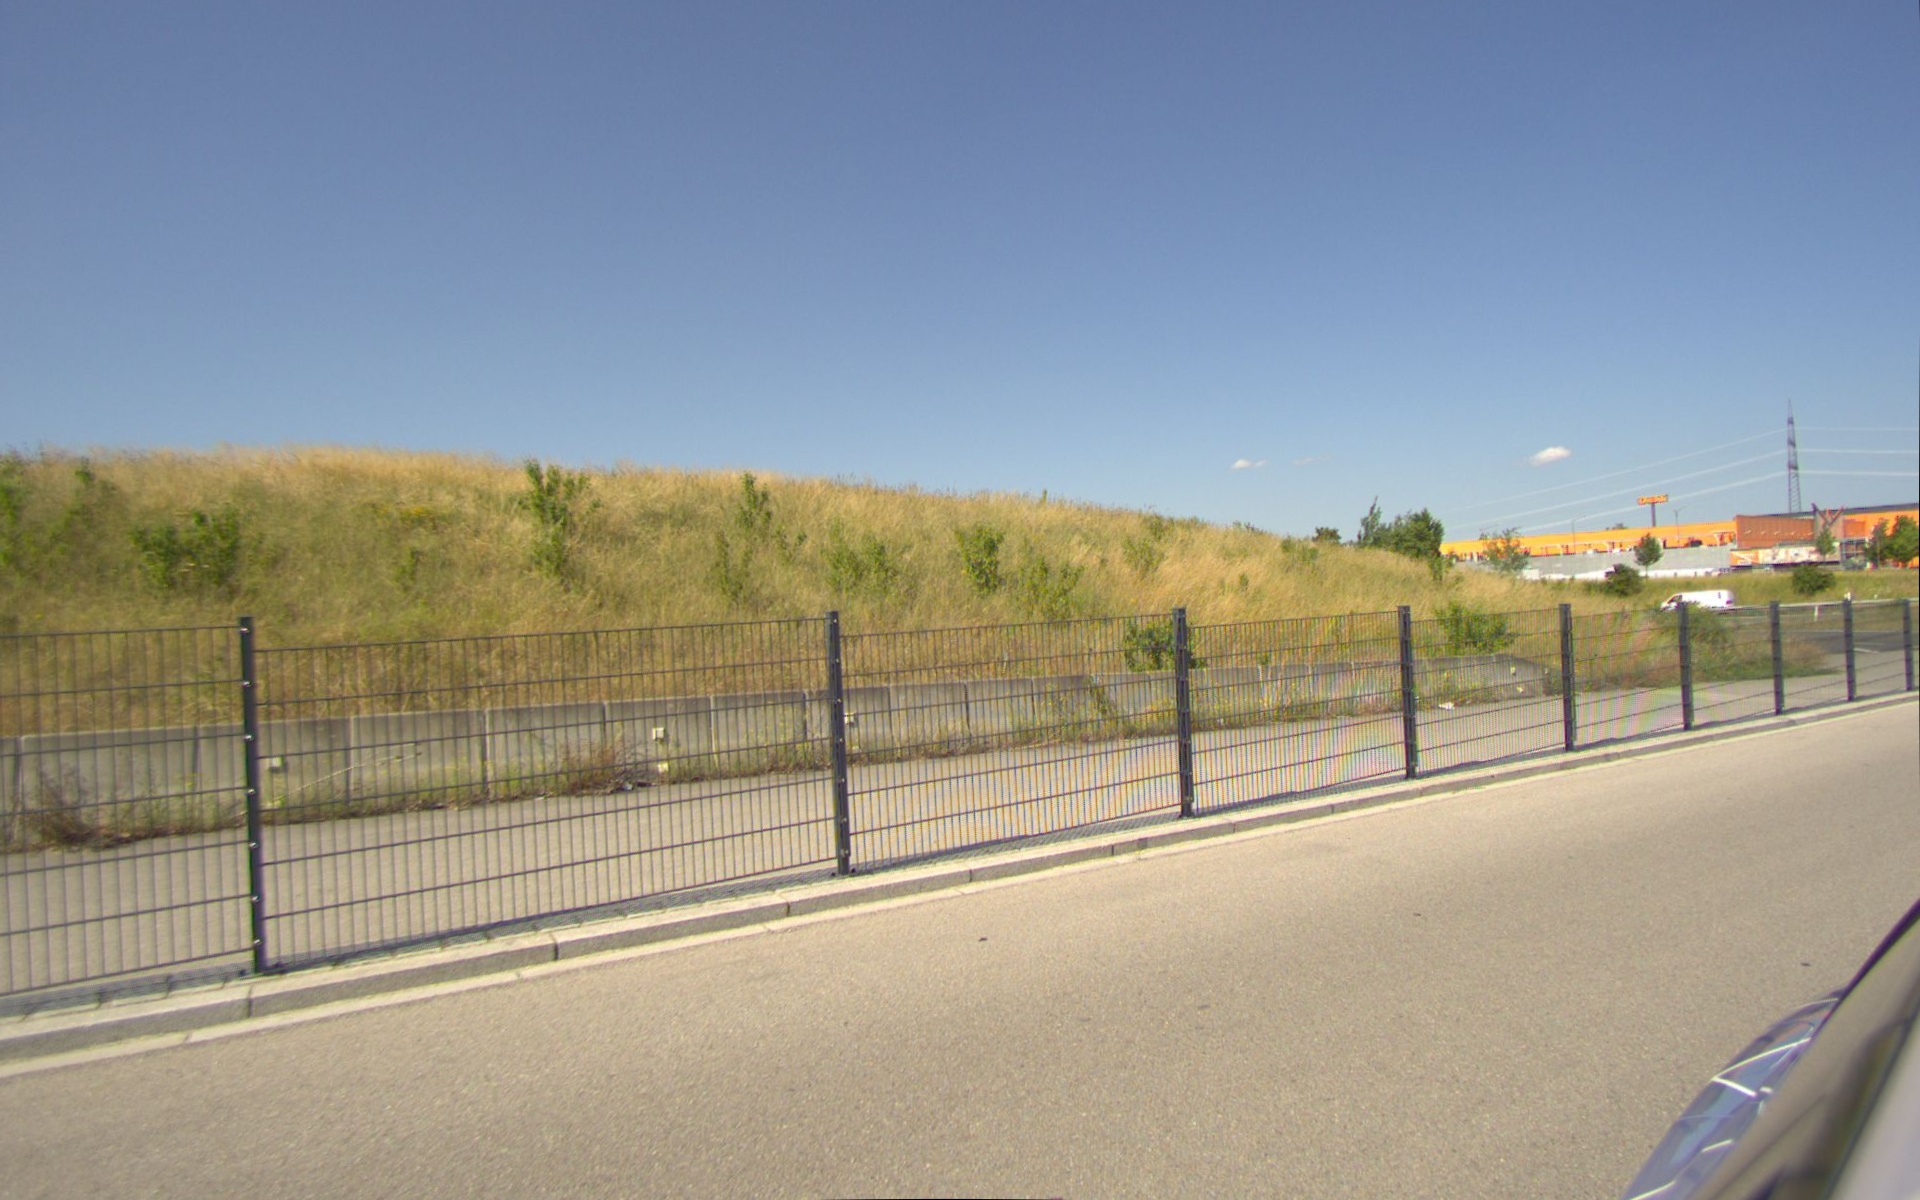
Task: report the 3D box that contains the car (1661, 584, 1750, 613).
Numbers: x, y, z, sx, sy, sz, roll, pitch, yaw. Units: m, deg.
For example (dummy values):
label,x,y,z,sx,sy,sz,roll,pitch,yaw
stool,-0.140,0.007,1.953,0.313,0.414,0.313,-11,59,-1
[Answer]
label,x,y,z,sx,sy,sz,roll,pitch,yaw
car,58.774,-0.093,79.843,1.964,2.039,5.248,-1,-2,-39
